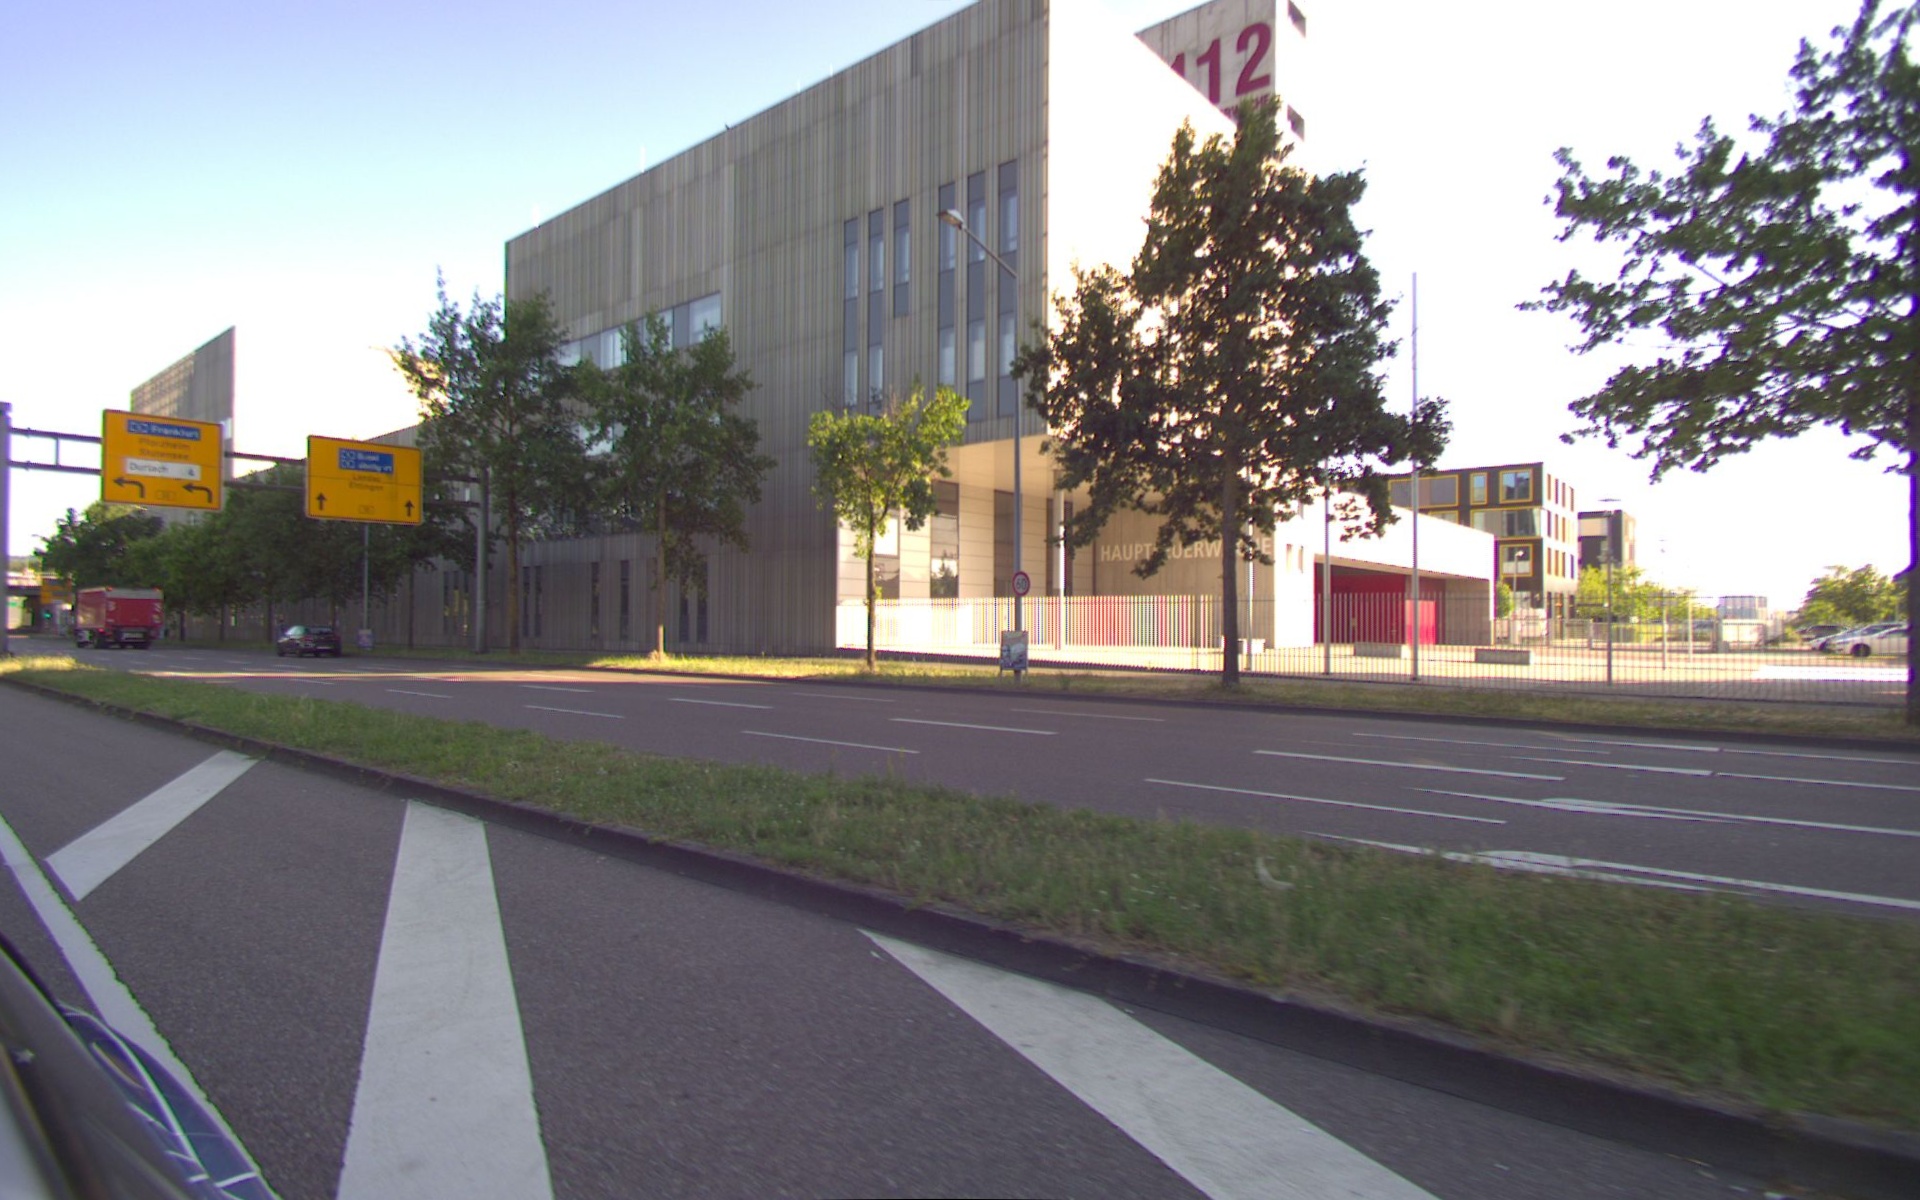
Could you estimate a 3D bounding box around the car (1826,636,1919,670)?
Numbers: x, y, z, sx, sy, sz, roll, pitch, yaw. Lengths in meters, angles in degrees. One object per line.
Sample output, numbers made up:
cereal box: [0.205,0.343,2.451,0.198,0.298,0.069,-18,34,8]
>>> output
car: [50.616,2.898,55.610,4.503,1.764,1.886,-1,-2,39]

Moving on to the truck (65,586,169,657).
truck: [-49.774,1.276,59.618,10.081,3.840,2.968,-1,-2,40]

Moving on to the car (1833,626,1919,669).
car: [42.979,2.134,46.066,4.781,1.889,1.886,-1,-2,39]

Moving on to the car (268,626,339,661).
car: [-30.007,1.940,46.254,3.862,1.524,1.580,-1,-2,39]

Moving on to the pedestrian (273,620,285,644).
pedestrian: [-51.526,2.420,76.566,0.648,1.781,0.596,-2,-2,41]

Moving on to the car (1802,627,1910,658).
car: [54.657,2.547,61.872,4.781,1.832,1.886,-1,-2,39]

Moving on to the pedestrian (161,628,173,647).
pedestrian: [-68.873,3.237,87.927,0.725,1.641,0.689,-1,-2,40]
